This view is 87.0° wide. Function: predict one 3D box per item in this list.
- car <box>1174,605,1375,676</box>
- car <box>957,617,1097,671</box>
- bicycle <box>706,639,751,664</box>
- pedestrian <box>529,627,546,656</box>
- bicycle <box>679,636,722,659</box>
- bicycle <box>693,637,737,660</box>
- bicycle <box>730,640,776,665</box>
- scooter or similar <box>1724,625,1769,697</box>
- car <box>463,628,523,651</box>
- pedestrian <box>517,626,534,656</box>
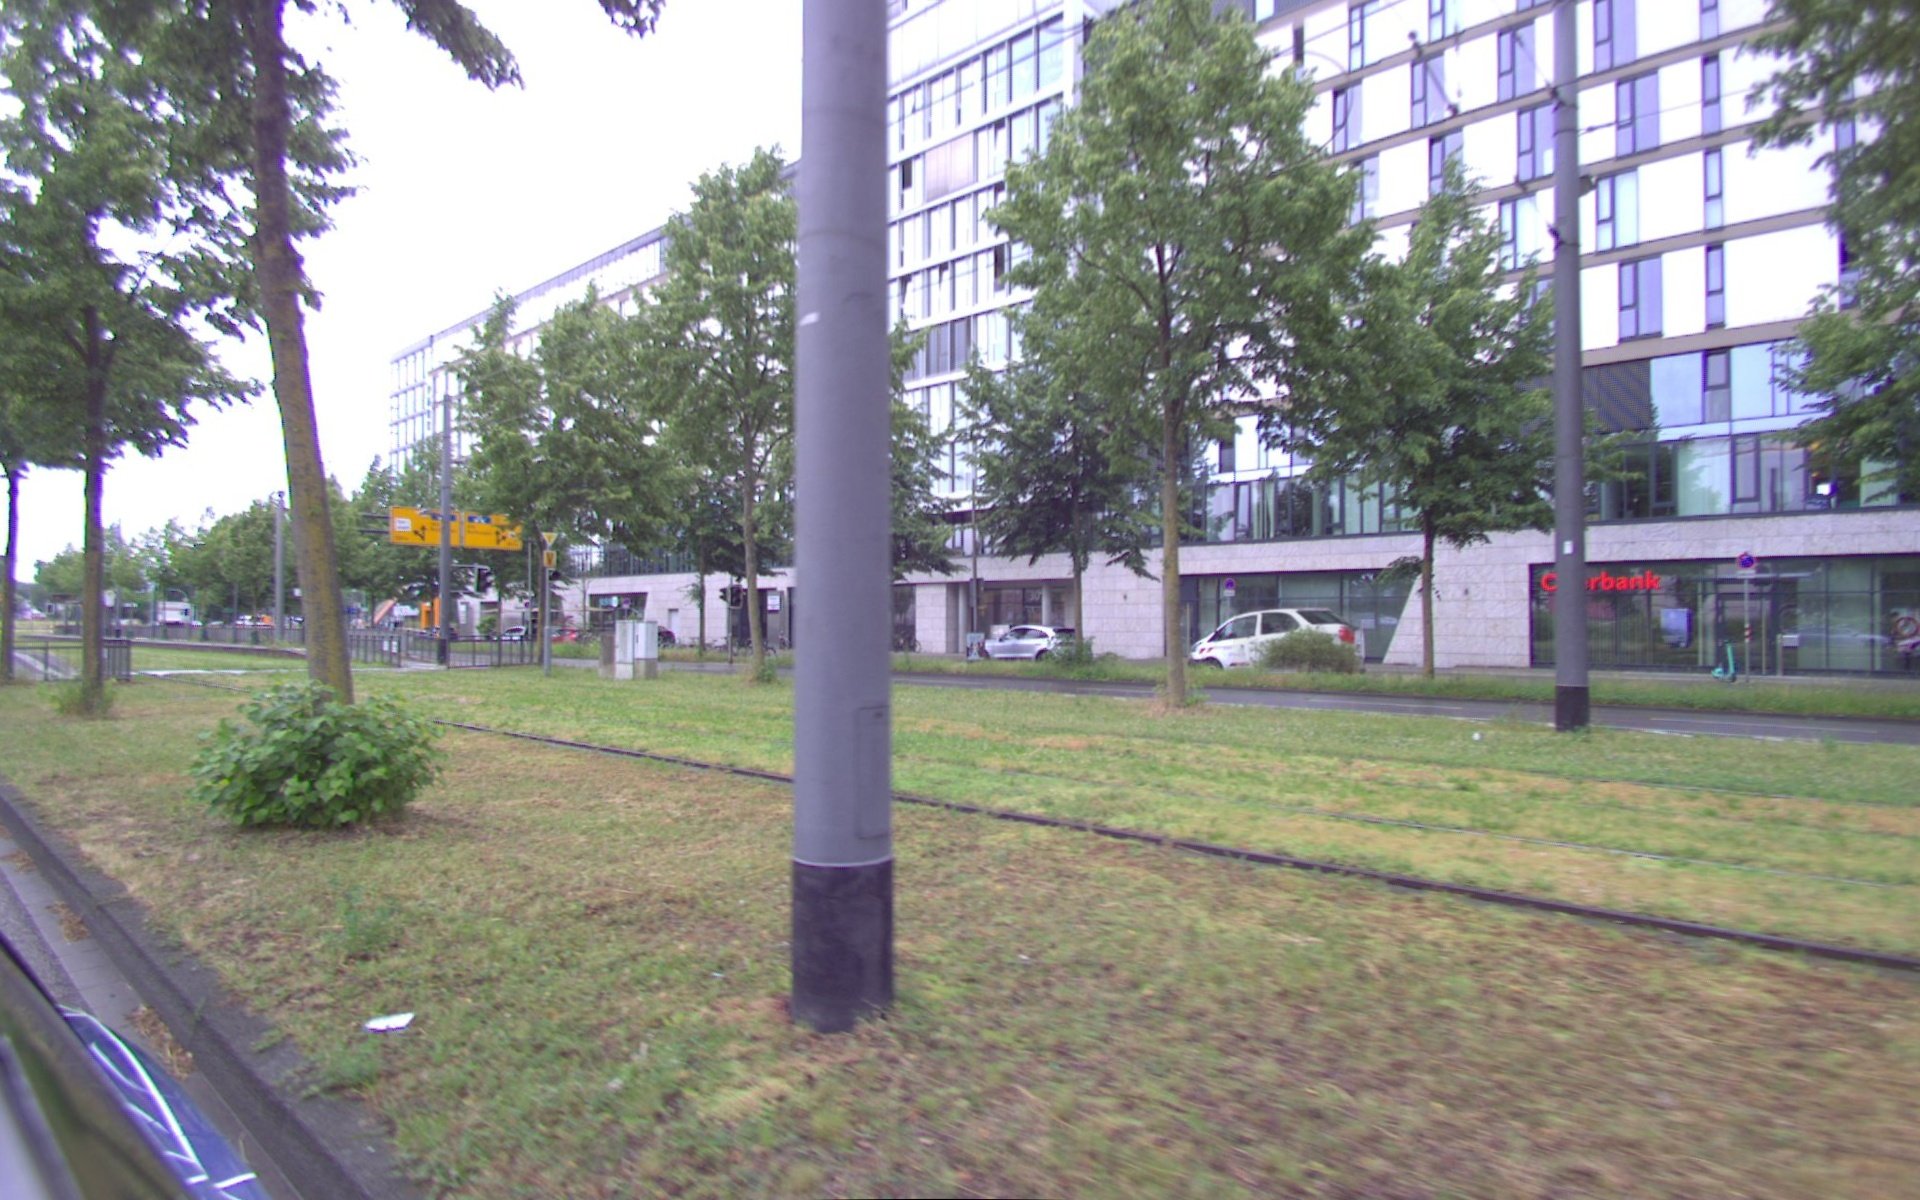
[{"bbox_3d":[8.897,1.109,28.947,5.161,1.866,1.973,-1,-2,41],"label":"car"},{"bbox_3d":[2.248,1.466,34.726,4.462,1.725,2.122,-1,-2,41],"label":"car"},{"bbox_3d":[-10.486,2.326,45.859,0.696,1.042,1.957,-2,-2,43],"label":"bicycle"},{"bbox_3d":[-25.210,2.461,60.336,0.793,1.704,0.703,-2,-2,44],"label":"pedestrian"},{"bbox_3d":[-12.313,2.244,48.071,0.696,1.042,1.957,-2,-2,43],"label":"bicycle"},{"bbox_3d":[-11.402,2.248,47.114,0.696,1.042,1.957,-1,-1,43],"label":"bicycle"},{"bbox_3d":[-9.136,2.301,44.654,0.696,1.042,1.957,-2,-2,43],"label":"bicycle"},{"bbox_3d":[21.185,1.606,27.281,0.884,1.838,2.104,-1,-1,37],"label":"scooter or similar"},{"bbox_3d":[-28.253,2.363,61.188,4.070,1.298,1.971,-1,-1,43],"label":"car"},{"bbox_3d":[-25.596,2.411,59.646,0.793,1.704,0.703,-2,-2,44],"label":"pedestrian"}]
